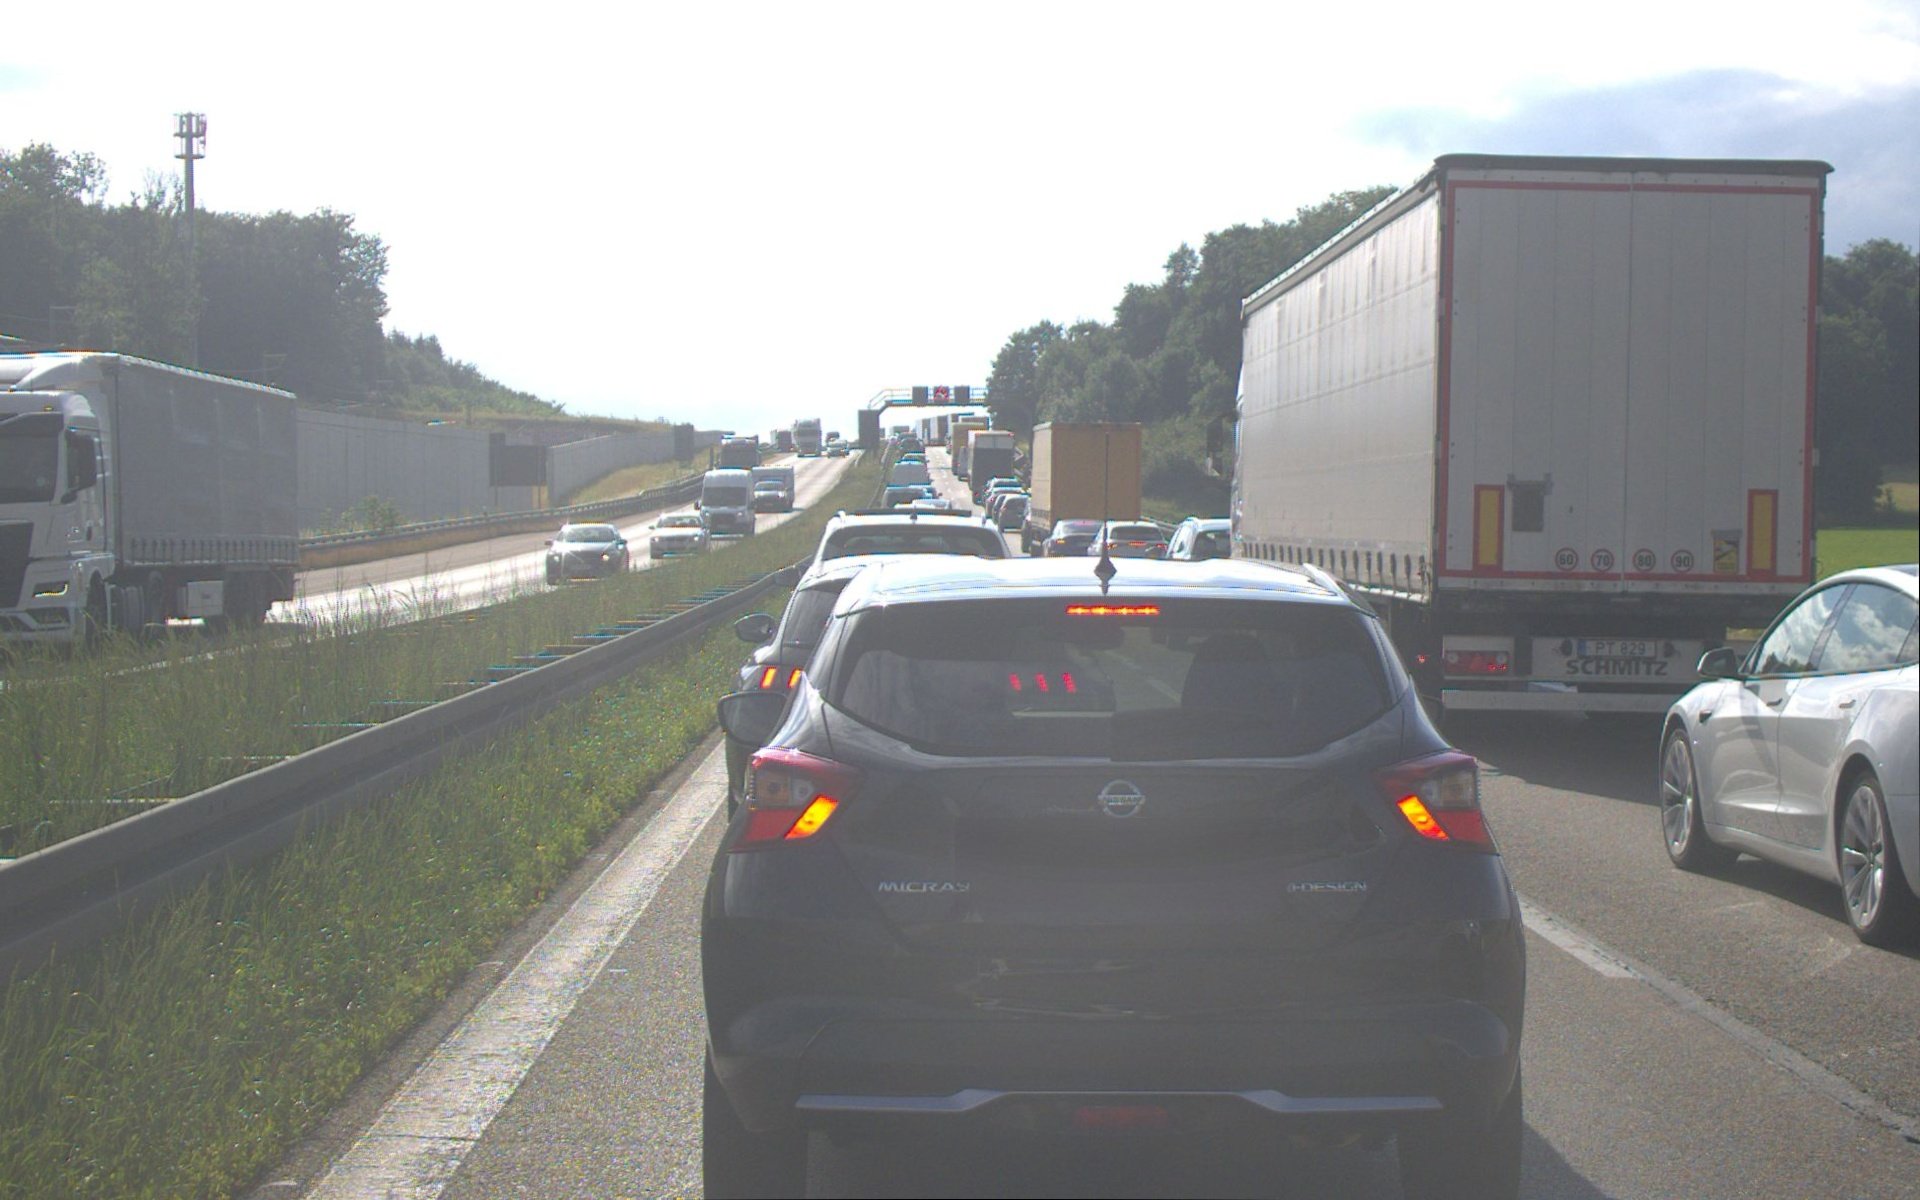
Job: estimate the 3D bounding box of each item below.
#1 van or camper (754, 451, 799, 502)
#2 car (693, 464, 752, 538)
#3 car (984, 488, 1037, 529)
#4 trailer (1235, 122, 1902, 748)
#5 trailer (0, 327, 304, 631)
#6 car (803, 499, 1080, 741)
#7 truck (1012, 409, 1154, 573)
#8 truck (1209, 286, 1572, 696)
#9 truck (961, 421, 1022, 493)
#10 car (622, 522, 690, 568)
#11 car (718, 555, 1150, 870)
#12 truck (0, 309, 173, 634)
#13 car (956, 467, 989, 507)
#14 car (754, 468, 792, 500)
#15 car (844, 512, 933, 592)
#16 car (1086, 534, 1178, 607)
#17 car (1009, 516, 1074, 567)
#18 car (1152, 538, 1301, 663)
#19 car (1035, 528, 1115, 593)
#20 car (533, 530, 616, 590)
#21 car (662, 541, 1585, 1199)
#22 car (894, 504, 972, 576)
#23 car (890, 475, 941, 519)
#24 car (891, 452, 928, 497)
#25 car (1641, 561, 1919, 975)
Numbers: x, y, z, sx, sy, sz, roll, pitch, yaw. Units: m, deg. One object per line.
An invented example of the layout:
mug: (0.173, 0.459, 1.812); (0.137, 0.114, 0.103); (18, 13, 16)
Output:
van or camper: (-10.243, -6.881, 192.287); (2.252, 2.694, 7.171); (0, 1, -1)
car: (-9.503, -3.943, 137.846); (2.104, 2.860, 5.637); (0, 1, -1)
car: (2.096, -3.861, 144.720); (1.873, 1.638, 4.233); (0, 3, -4)
trailer: (4.453, -1.073, 28.809); (3.130, 3.997, 13.367); (1, 0, 0)
trailer: (-12.787, -1.730, 53.348); (2.790, 4.063, 13.521); (-2, 1, -1)
car: (-0.147, 0.103, 25.393); (1.873, 1.638, 4.232); (0, 1, -1)
truck: (3.536, -3.113, 102.609); (3.296, 4.562, 12.442); (1, 0, -2)
truck: (4.429, -1.085, 36.443); (3.133, 4.002, 5.164); (1, 0, 0)
truck: (2.025, -9.442, 227.389); (3.464, 4.561, 12.443); (1, 2, -2)
car: (-9.756, -1.774, 110.596); (1.873, 1.446, 4.232); (0, 1, -1)
car: (-0.131, 0.460, 17.051); (1.873, 1.353, 4.232); (0, 1, -1)
truck: (-12.611, -1.641, 46.165); (2.776, 4.074, 5.532); (-2, 1, -1)
car: (0.714, -6.653, 202.043); (1.873, 2.151, 5.212); (0, 4, -1)
car: (-10.152, -6.284, 186.519); (1.910, 1.666, 4.362); (0, 1, -1)
car: (-1.519, -1.058, 74.413); (1.873, 1.638, 4.233); (0, 2, -1)
car: (3.959, -0.706, 79.578); (1.873, 1.638, 4.232); (0, 1, -1)
car: (2.670, -1.960, 113.746); (1.873, 1.638, 4.233); (0, 1, -3)
car: (3.538, -0.031, 46.277); (1.697, 1.605, 4.437); (0, 1, 0)
car: (2.952, -1.042, 89.029); (1.873, 1.638, 4.232); (0, 1, -1)
car: (-9.418, -0.986, 84.134); (1.651, 1.446, 3.956); (0, 1, -1)
car: (0.296, 0.578, 8.725); (1.773, 1.446, 4.232); (0, 1, -1)
car: (-0.660, -1.506, 84.861); (1.873, 1.638, 4.233); (0, 3, -1)
car: (-1.735, -3.981, 132.804); (1.873, 1.638, 4.233); (0, 3, -2)
car: (-2.584, -6.466, 176.622); (1.873, 2.151, 5.212); (0, 4, -1)
car: (4.158, 0.558, 13.963); (1.788, 1.389, 4.437); (0, 1, -2)
